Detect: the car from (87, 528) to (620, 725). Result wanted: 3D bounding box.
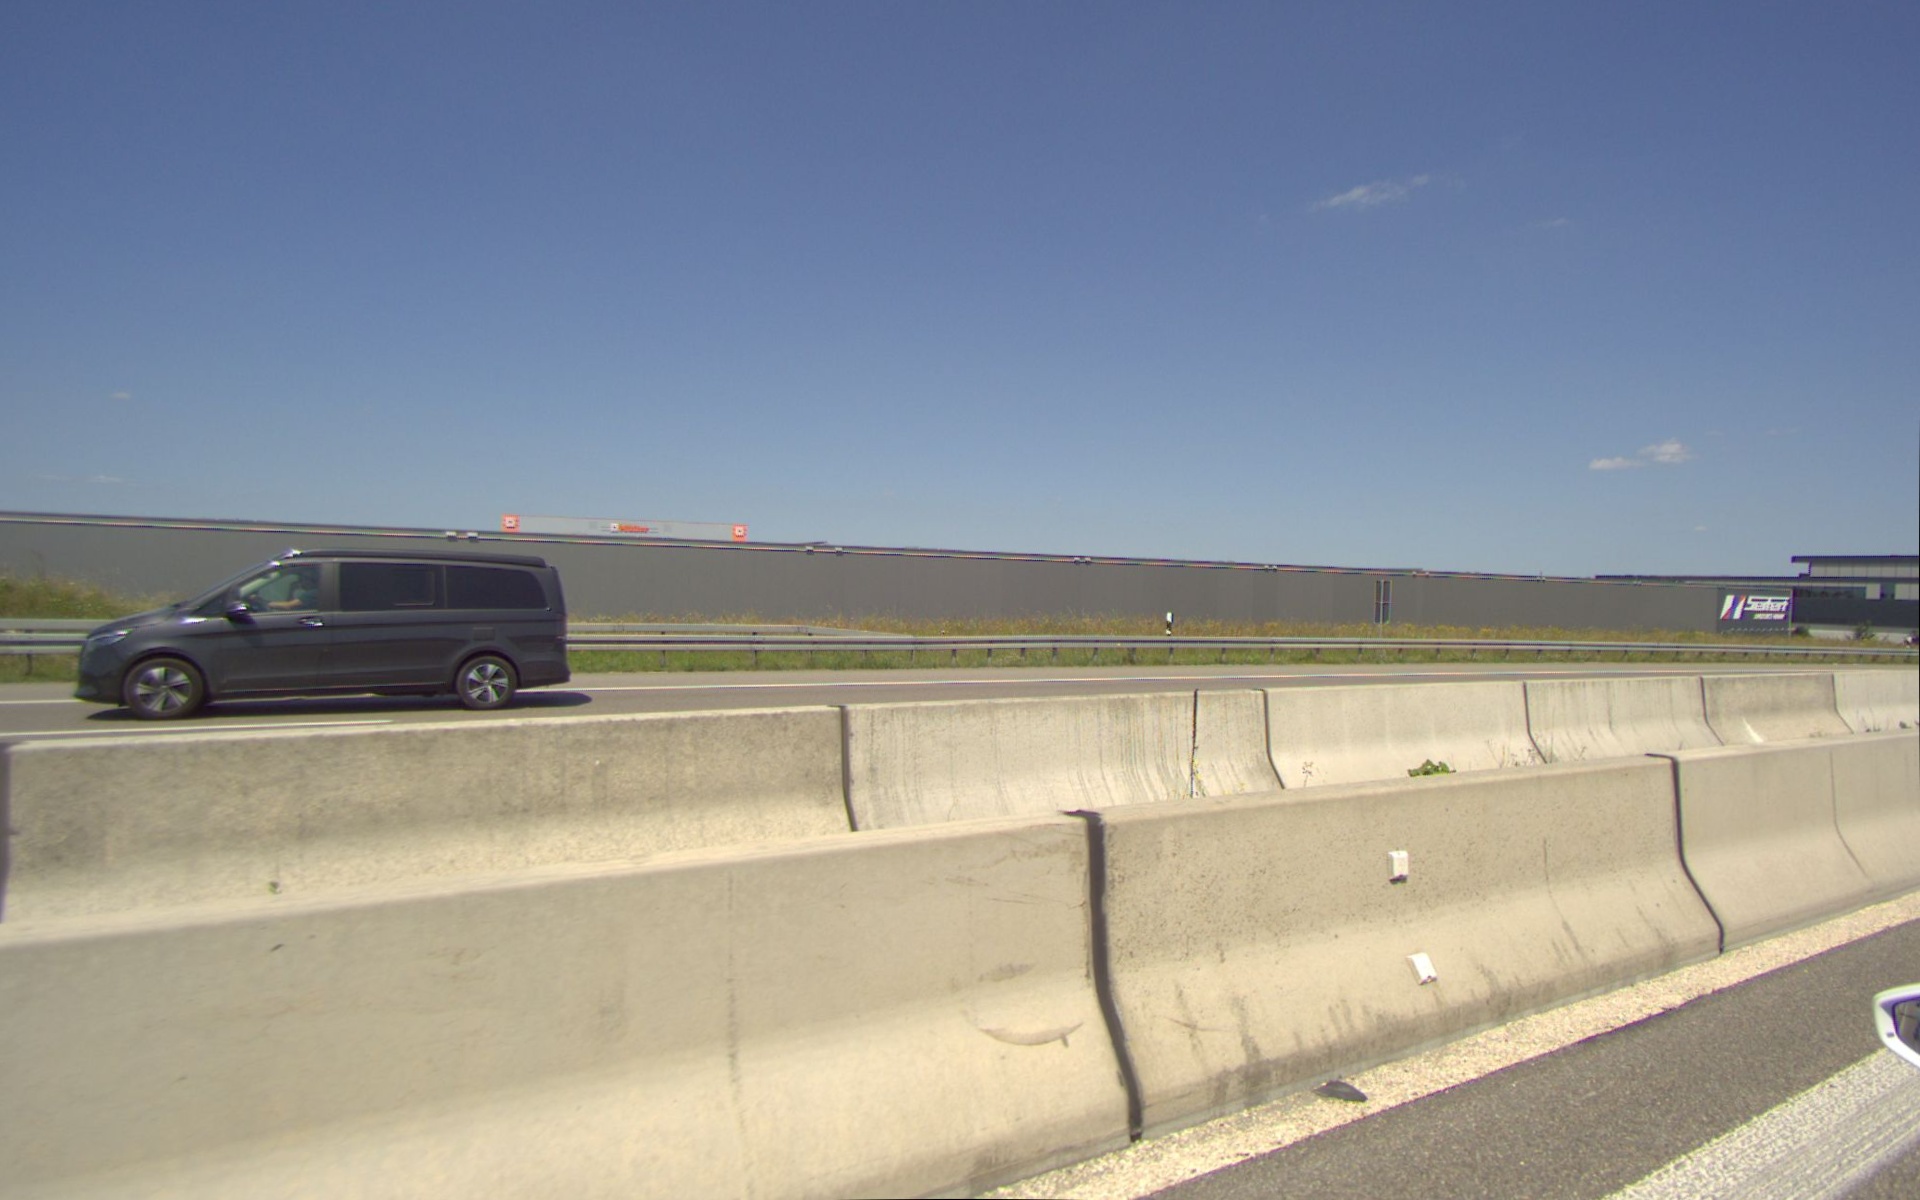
[{"bbox_3d":[-7.278,0.329,12.721,5.318,2.040,2.138,1,0,-30],"label":"car"}]
